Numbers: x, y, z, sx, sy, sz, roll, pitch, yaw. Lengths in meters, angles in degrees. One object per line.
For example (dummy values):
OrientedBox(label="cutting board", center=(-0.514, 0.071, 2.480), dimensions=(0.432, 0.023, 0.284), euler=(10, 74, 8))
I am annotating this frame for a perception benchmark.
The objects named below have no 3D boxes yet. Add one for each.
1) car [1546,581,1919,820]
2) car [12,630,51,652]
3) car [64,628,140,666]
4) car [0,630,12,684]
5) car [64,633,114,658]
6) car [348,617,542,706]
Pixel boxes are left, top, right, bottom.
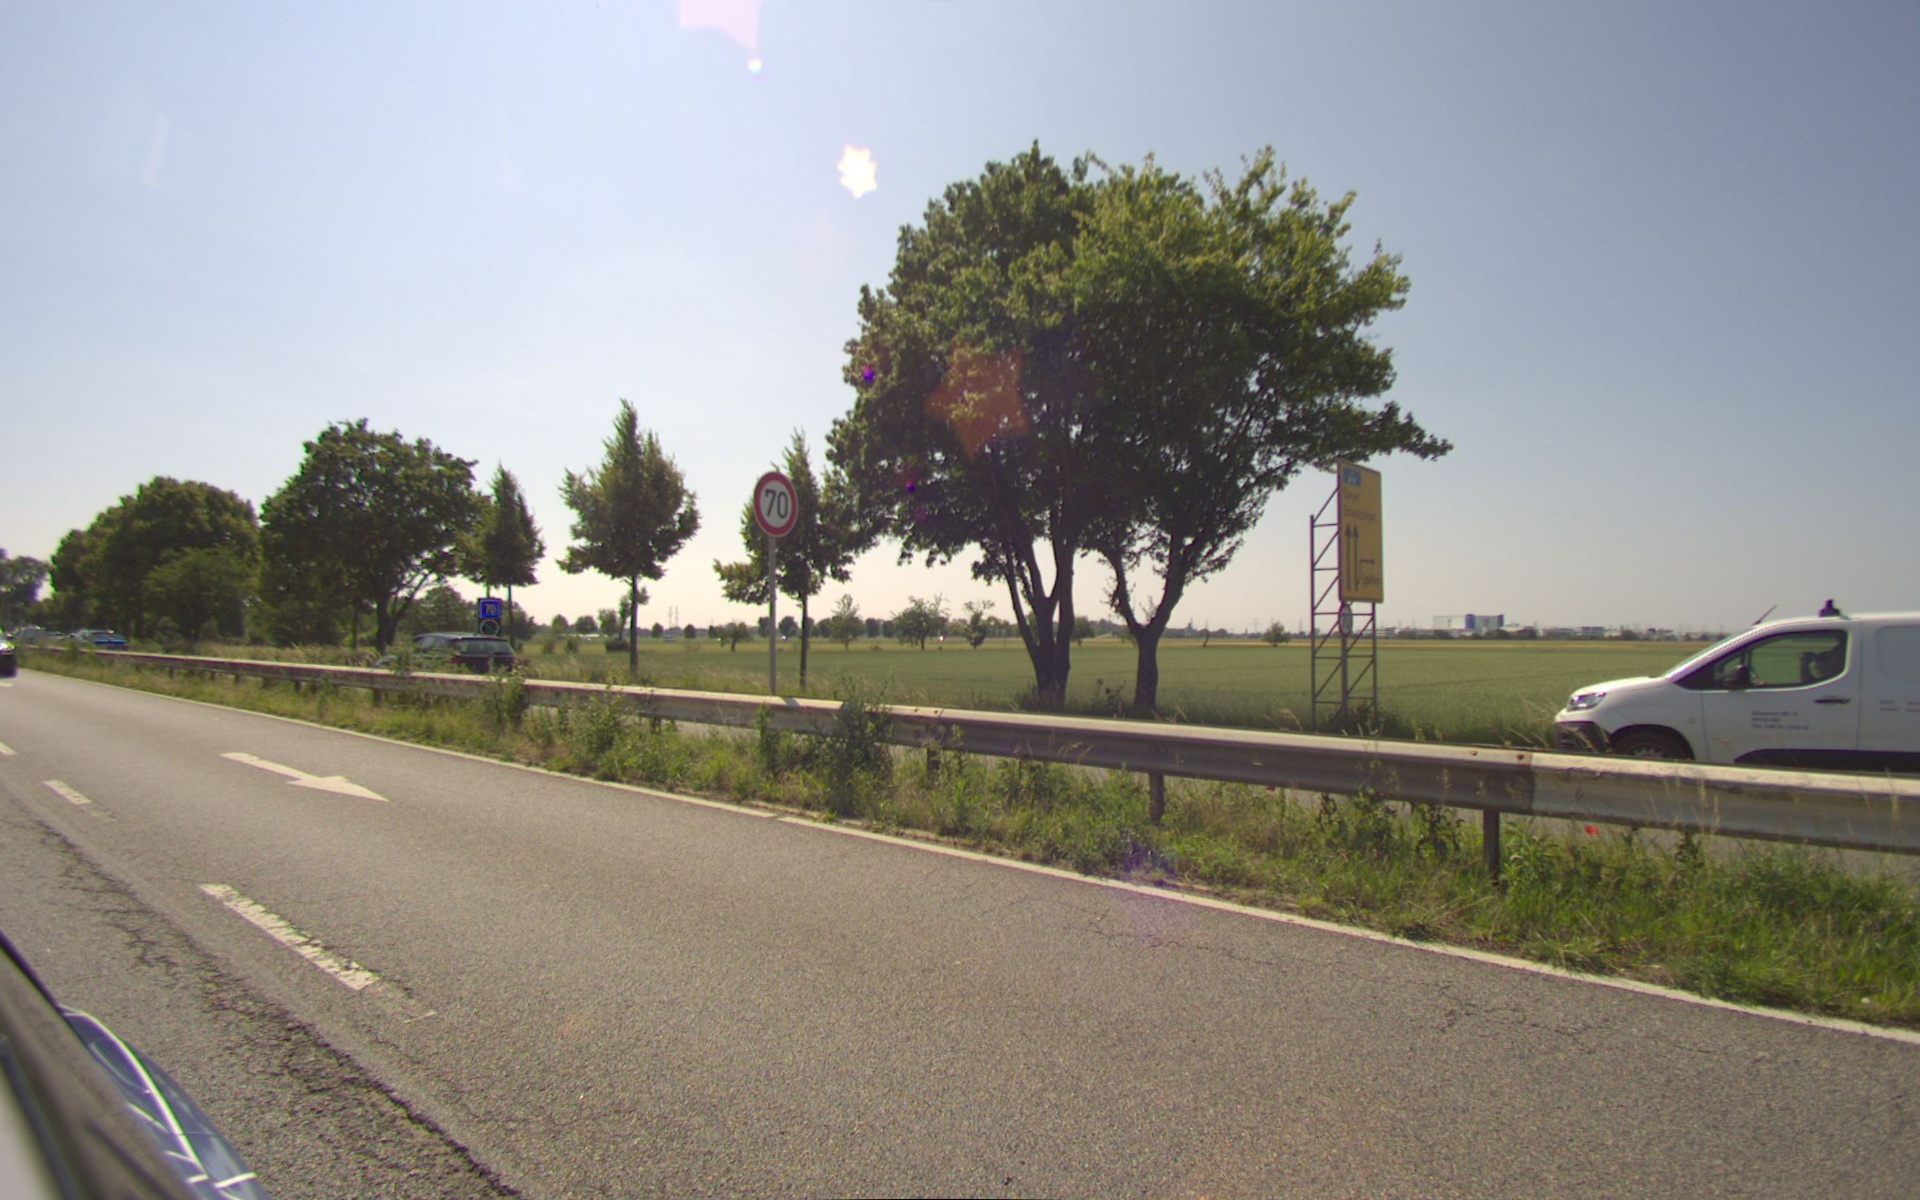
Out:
OrientedBox(label="car", center=(8.329, 0.862, 9.286), dimensions=(4.827, 1.966, 1.973), euler=(-2, -3, 41))
OrientedBox(label="car", center=(-83.167, 3.654, 90.592), dimensions=(4.924, 1.975, 1.973), euler=(-2, -3, 41))
OrientedBox(label="car", center=(-39.153, 2.110, 46.146), dimensions=(4.478, 1.675, 1.973), euler=(-2, -3, 41))
OrientedBox(label="car", center=(-29.552, 1.690, 30.004), dimensions=(4.100, 1.527, 1.835), euler=(-2, -2, 43))
OrientedBox(label="car", center=(-59.685, 3.080, 69.326), dimensions=(4.478, 1.675, 1.973), euler=(-2, -2, 41))
OrientedBox(label="car", center=(-10.592, 1.199, 20.697), dimensions=(4.478, 1.615, 1.973), euler=(-2, -3, 41))
